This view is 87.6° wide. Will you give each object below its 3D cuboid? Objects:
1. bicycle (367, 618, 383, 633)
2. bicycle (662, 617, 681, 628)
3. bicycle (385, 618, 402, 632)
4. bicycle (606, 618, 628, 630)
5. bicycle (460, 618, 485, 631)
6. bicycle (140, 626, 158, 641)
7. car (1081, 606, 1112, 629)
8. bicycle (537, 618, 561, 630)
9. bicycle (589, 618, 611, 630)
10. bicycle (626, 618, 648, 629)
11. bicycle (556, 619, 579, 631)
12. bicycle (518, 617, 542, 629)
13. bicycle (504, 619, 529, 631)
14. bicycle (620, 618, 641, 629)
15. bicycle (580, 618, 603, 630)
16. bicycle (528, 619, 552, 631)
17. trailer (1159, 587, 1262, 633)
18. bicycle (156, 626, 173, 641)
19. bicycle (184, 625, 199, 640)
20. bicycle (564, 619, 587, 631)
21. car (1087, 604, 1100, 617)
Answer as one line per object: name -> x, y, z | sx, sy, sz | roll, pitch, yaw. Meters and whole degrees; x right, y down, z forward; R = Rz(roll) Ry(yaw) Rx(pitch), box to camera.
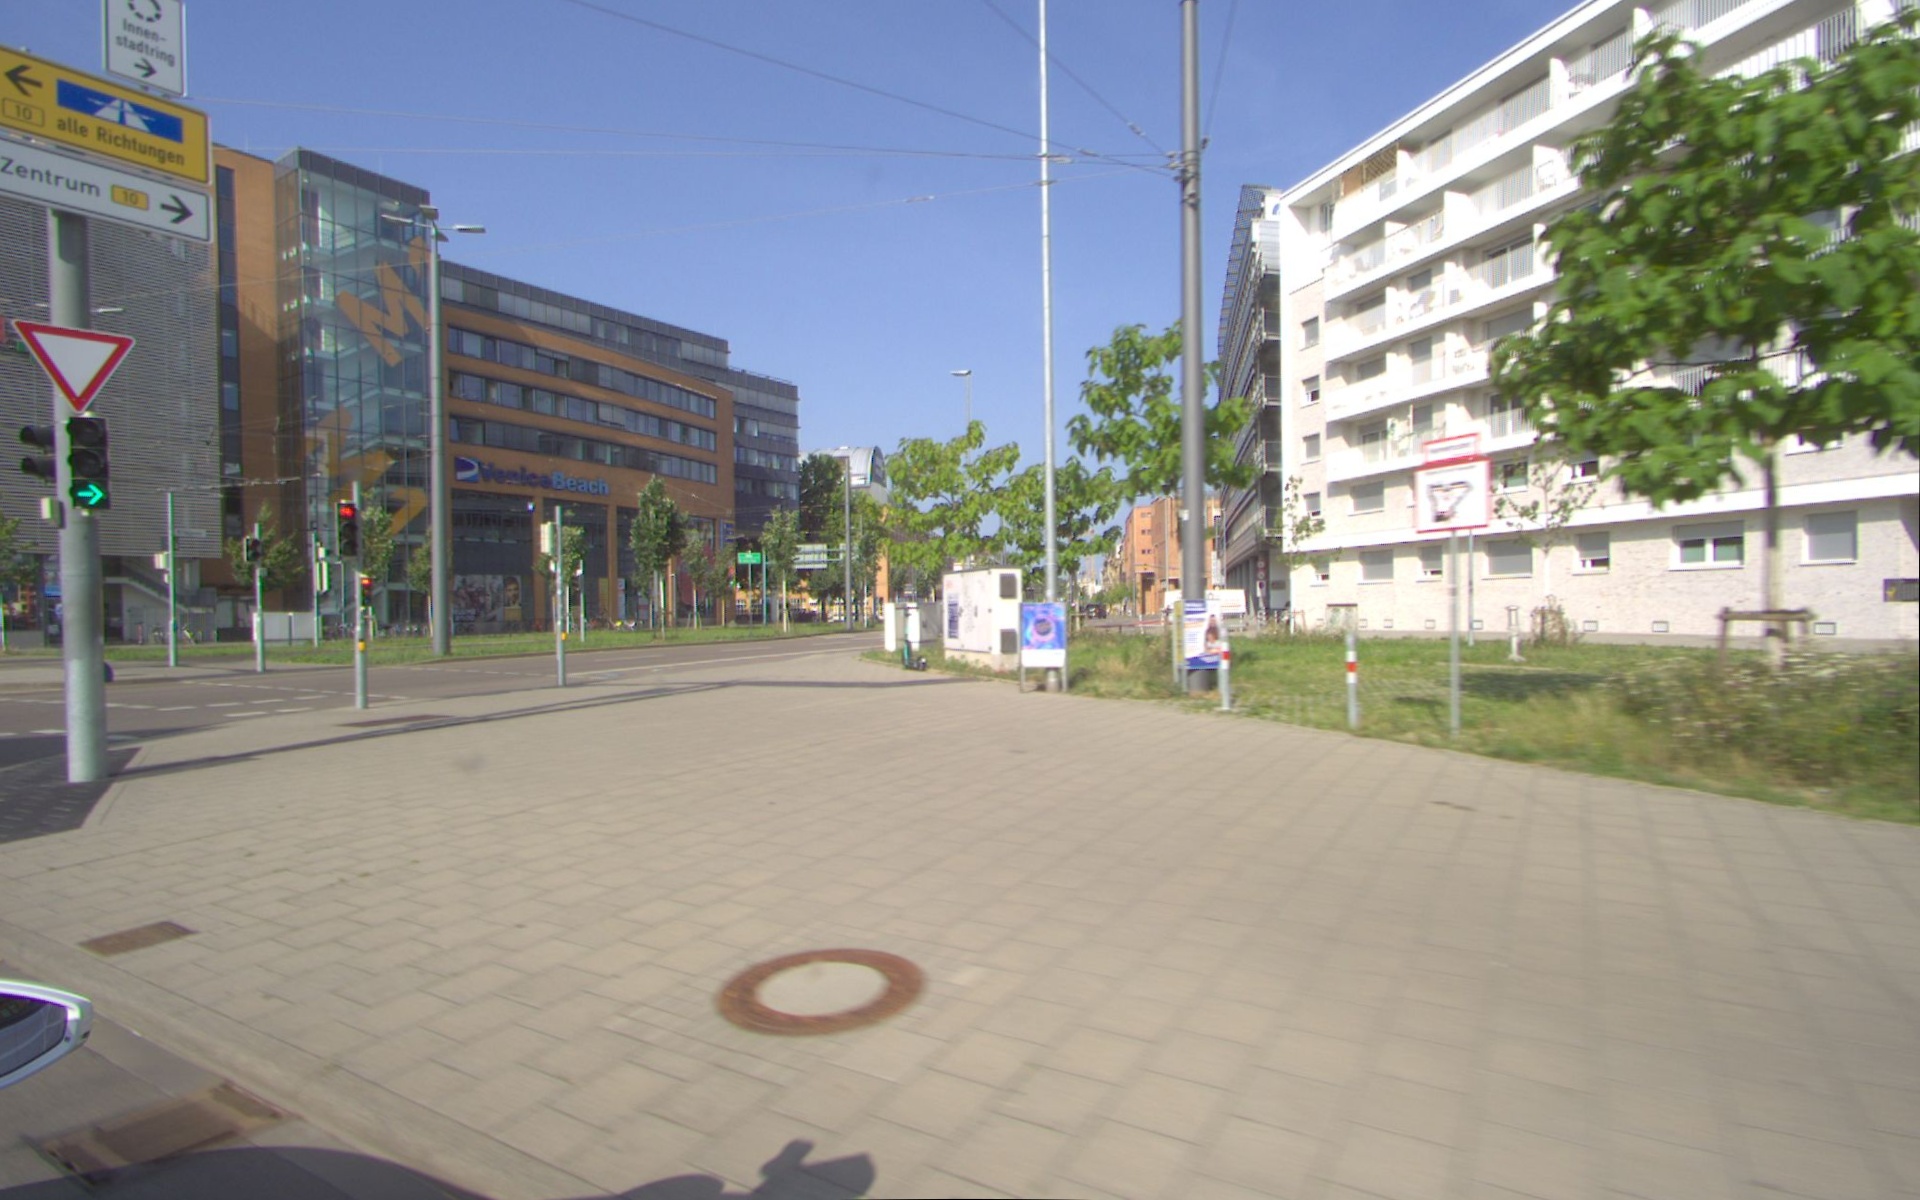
bicycle -> -37.490, 1.632, 64.164 | 1.446, 0.898, 0.256 | -1, -1, 31
bicycle -> -24.068, 1.906, 83.548 | 1.658, 0.919, 0.705 | -1, -1, 34
bicycle -> -36.878, 1.647, 65.224 | 1.446, 0.841, 0.256 | 2, 0, 31
bicycle -> -28.857, 2.006, 84.211 | 2.024, 0.934, 0.571 | -1, 0, 29
bicycle -> -35.162, 1.778, 72.164 | 2.024, 0.934, 0.571 | -1, 0, 29
bicycle -> -42.556, 1.737, 52.548 | 0.993, 0.762, 0.449 | 0, 0, 36
car -> 9.892, 1.282, 72.176 | 1.746, 1.528, 3.517 | -1, -2, 16
bicycle -> -32.053, 1.896, 78.079 | 2.024, 0.934, 0.571 | -1, 0, 29
bicycle -> -29.777, 1.975, 82.818 | 2.024, 0.934, 0.571 | -1, 0, 29
bicycle -> -27.904, 2.032, 86.387 | 2.024, 0.934, 0.571 | -1, 0, 29
bicycle -> -31.233, 1.992, 79.629 | 2.024, 0.934, 0.571 | -1, 0, 29
bicycle -> -32.887, 1.760, 76.513 | 2.024, 0.934, 0.571 | -1, 0, 29
bicycle -> -33.371, 1.872, 75.355 | 2.024, 0.934, 0.571 | -1, 0, 29
bicycle -> -28.215, 2.008, 85.722 | 2.024, 0.934, 0.379 | -1, 0, 29
bicycle -> -30.154, 1.975, 82.001 | 2.024, 0.934, 0.571 | -1, 0, 29
bicycle -> -32.409, 1.905, 77.285 | 2.024, 0.934, 0.571 | -1, 0, 29
trailer -> 12.701, 0.493, 50.459 | 2.372, 2.179, 5.893 | -1, 0, 45
bicycle -> -42.056, 1.751, 52.955 | 0.993, 0.762, 0.449 | 0, 0, 36
bicycle -> -41.383, 1.753, 53.929 | 1.010, 0.762, 0.359 | 0, 0, 36
bicycle -> -30.898, 2.001, 80.423 | 2.024, 0.934, 0.571 | -1, 0, 29
car -> 15.017, 1.183, 112.688 | 1.315, 1.405, 3.058 | 0, -2, 12
